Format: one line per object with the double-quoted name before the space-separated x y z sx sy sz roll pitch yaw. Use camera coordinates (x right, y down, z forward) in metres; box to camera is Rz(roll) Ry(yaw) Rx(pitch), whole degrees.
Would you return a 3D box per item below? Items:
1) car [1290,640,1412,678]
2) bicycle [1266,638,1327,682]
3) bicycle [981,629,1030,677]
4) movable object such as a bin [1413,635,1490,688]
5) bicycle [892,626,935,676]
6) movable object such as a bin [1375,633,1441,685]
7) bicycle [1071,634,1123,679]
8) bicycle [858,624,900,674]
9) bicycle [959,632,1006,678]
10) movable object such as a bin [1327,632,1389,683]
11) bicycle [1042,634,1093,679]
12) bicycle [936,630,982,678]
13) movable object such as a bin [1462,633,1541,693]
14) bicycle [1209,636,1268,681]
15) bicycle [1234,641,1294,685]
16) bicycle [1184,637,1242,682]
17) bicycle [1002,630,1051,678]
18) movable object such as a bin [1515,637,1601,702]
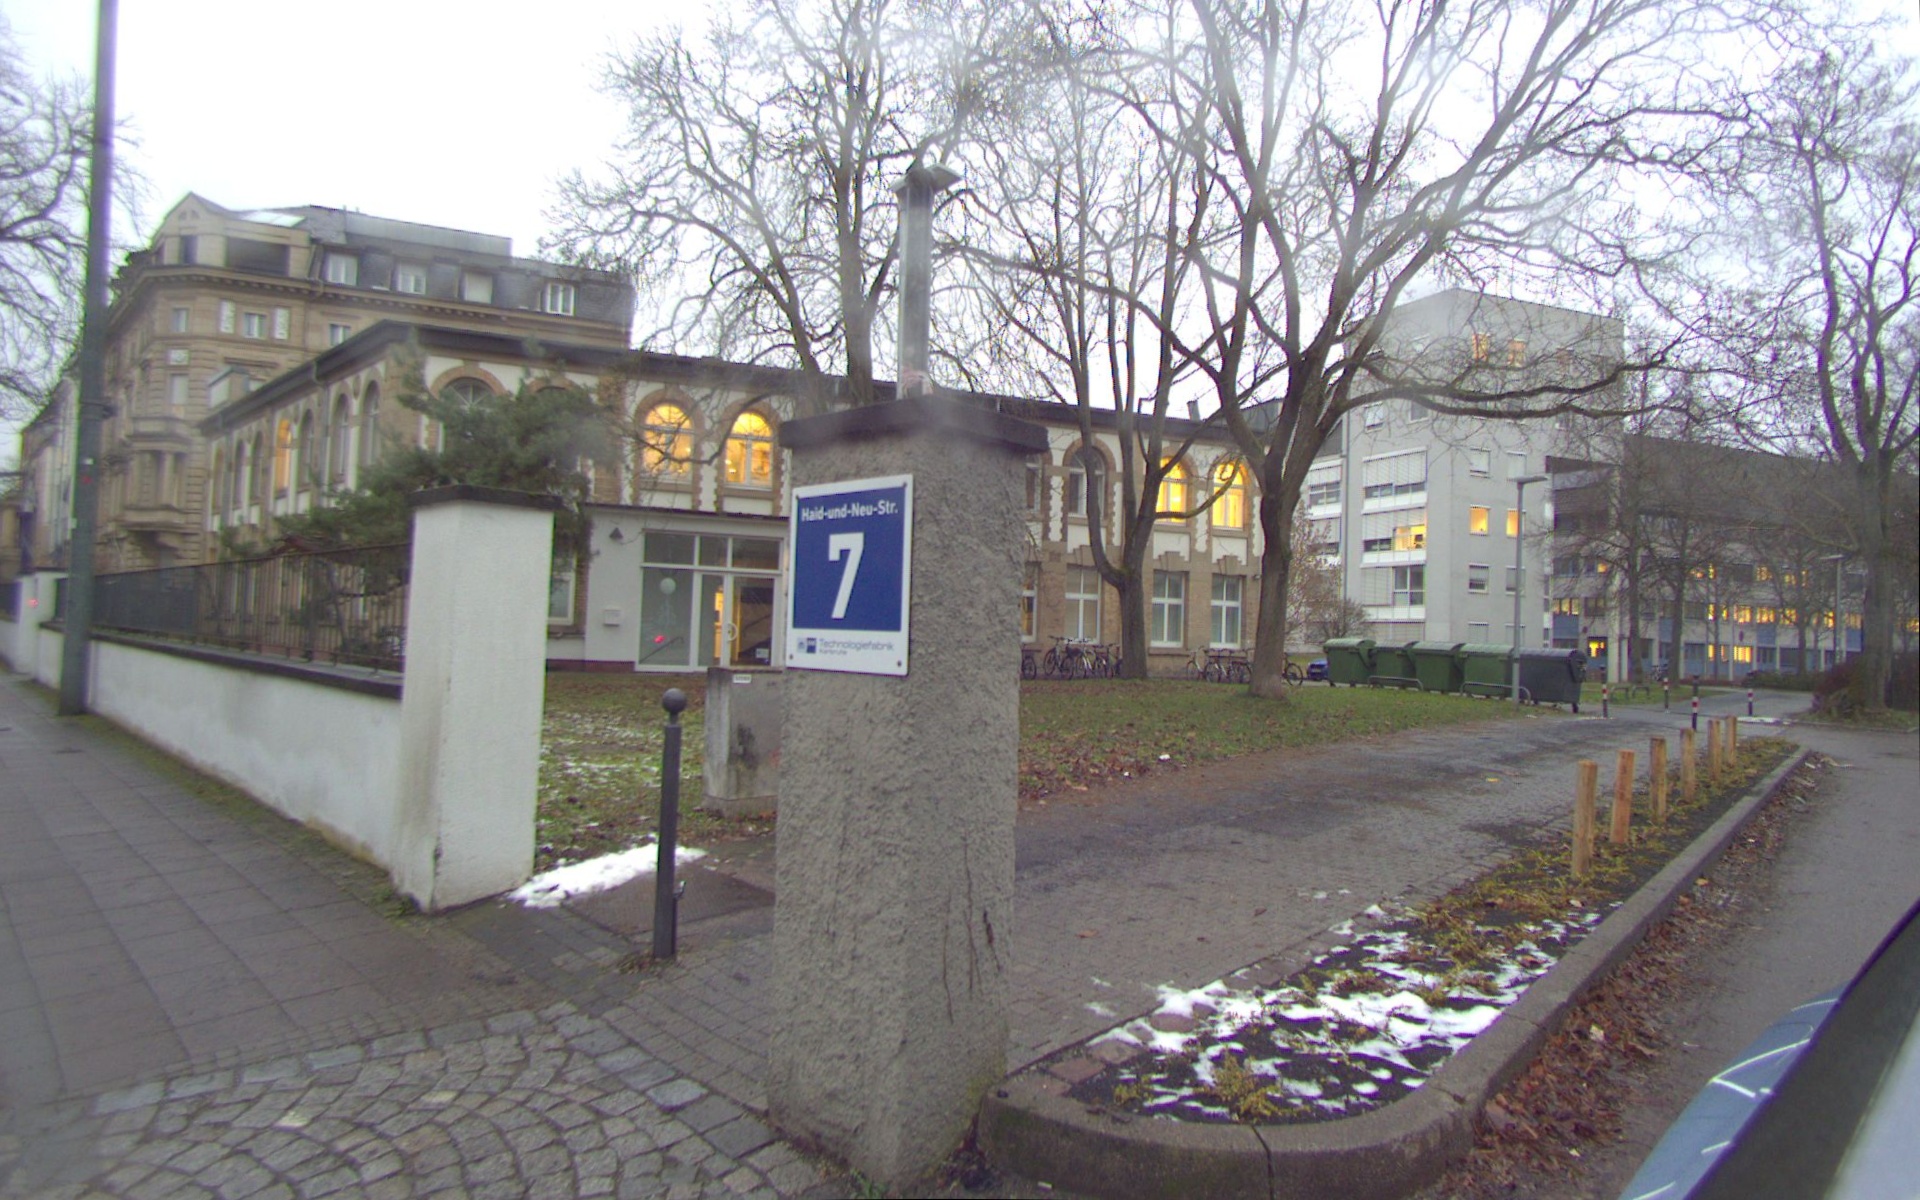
"car" 15.093 2.268 39.138 3.916 1.297 2.004 2 -1 -13
"bicycle" 9.863 1.729 29.733 0.561 1.172 2.146 2 -1 -17
"bicycle" 1.181 1.383 26.779 0.561 1.172 2.146 2 -1 -17
"movable object such as a bin" 12.321 1.536 25.420 0.967 1.241 1.441 2 -1 -24
"bicycle" -1.198 1.274 25.820 0.561 1.172 2.146 2 -1 -17
"movable object such as a bin" 11.850 1.538 26.776 0.967 1.296 1.254 2 -1 -24
"bicycle" 3.730 1.526 27.710 0.561 1.125 2.146 2 -1 -17
"bicycle" -2.063 1.206 25.543 0.561 1.172 2.146 2 -1 -17
"bicycle" 0.563 1.419 26.594 0.561 1.029 2.146 2 1 -17
"movable object such as a bin" 11.007 1.589 28.042 0.967 1.331 1.266 2 -1 -24
"bicycle" 2.890 1.505 27.404 0.561 1.106 2.146 2 -1 -17
"bicycle" -0.041 1.388 26.389 0.561 1.063 2.146 2 1 -17
"movable object such as a bin" 12.847 1.492 24.025 0.967 1.331 1.310 2 -1 -24
"bicycle" 8.014 1.672 29.213 0.561 1.172 2.146 2 -1 -17
"bicycle" 8.883 1.827 29.642 0.561 1.172 2.146 2 -1 -17
"bicycle" 7.200 1.670 28.900 0.561 1.172 2.146 2 -1 -17
"bicycle" 1.756 1.425 26.970 0.561 1.172 2.146 2 -1 -17
"movable object such as a bin" 13.414 1.532 22.712 1.043 1.333 1.324 2 0 -36
